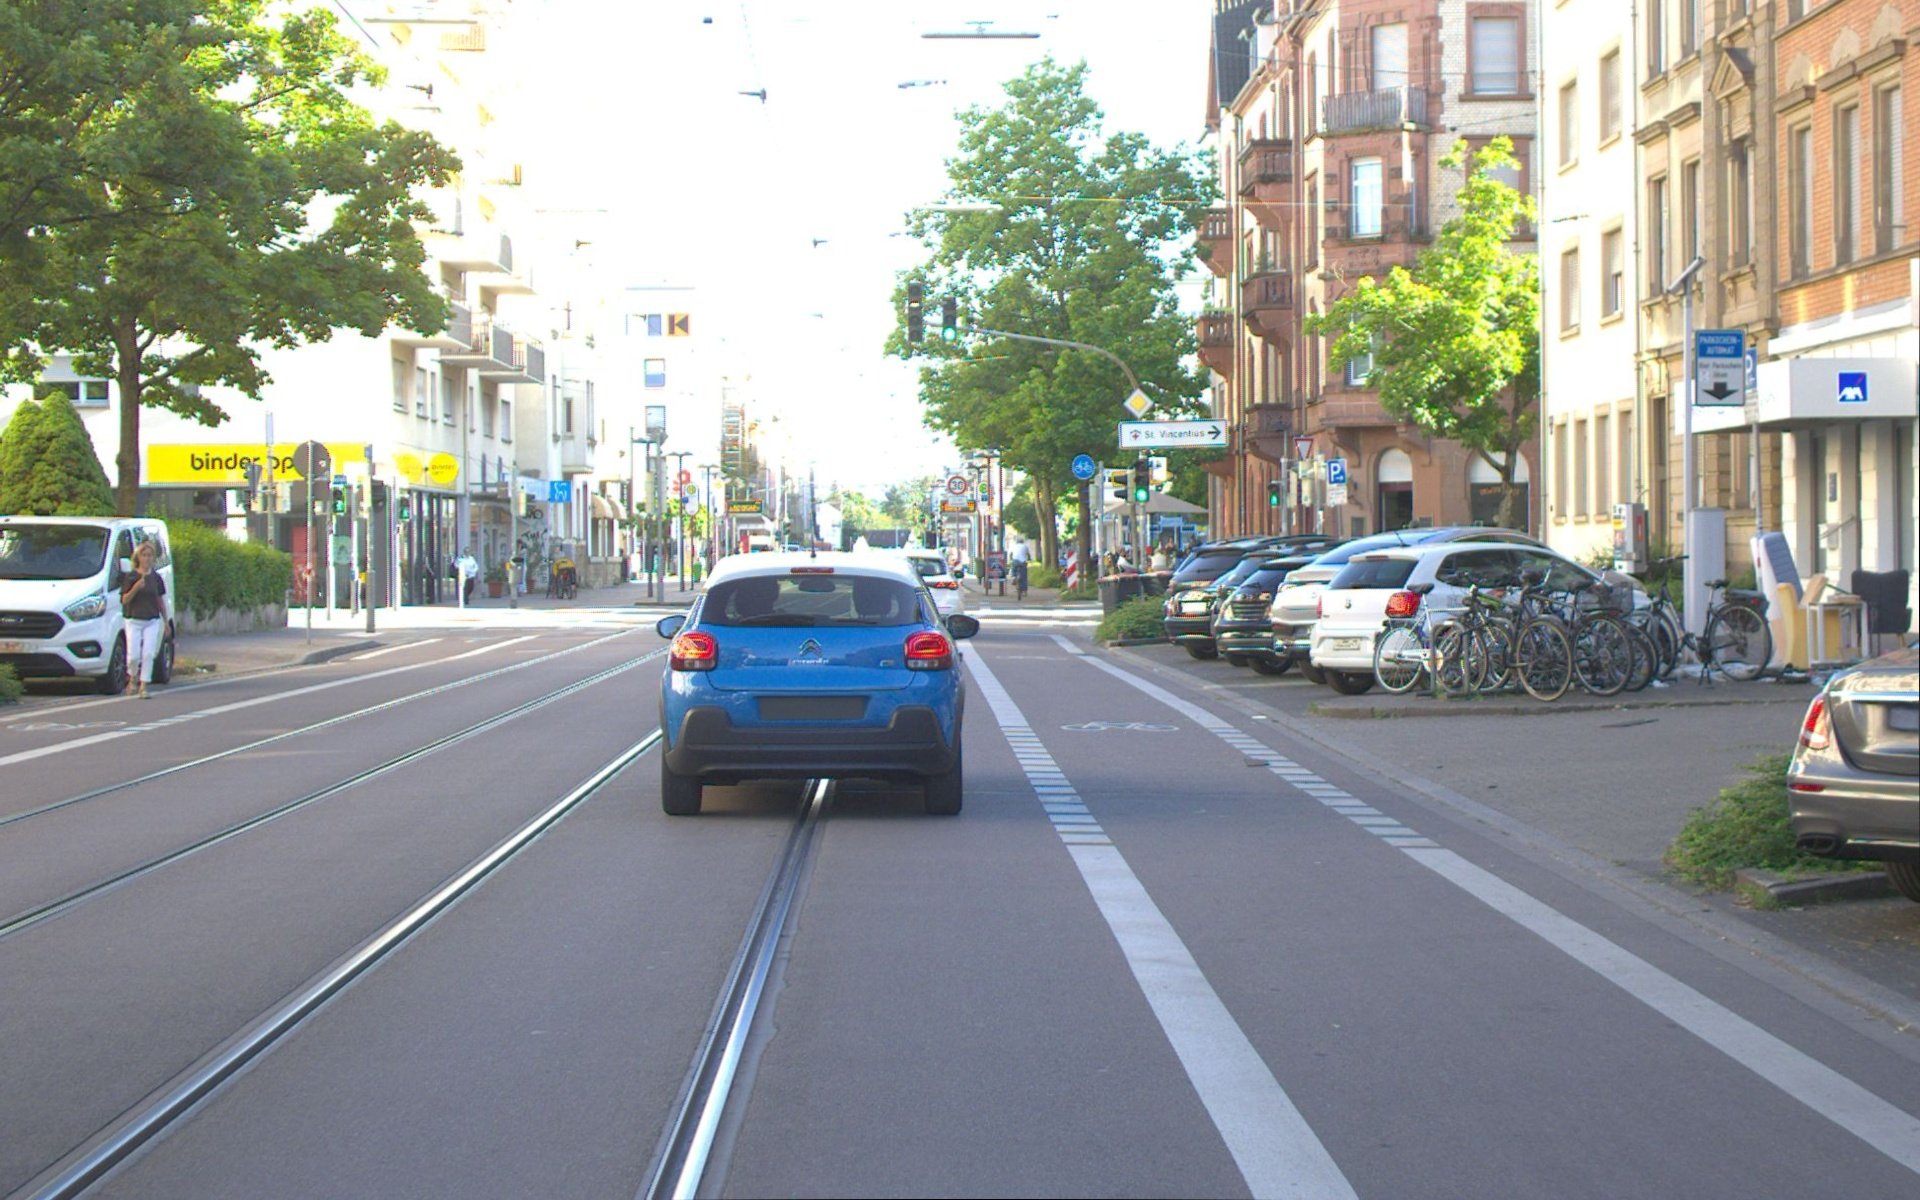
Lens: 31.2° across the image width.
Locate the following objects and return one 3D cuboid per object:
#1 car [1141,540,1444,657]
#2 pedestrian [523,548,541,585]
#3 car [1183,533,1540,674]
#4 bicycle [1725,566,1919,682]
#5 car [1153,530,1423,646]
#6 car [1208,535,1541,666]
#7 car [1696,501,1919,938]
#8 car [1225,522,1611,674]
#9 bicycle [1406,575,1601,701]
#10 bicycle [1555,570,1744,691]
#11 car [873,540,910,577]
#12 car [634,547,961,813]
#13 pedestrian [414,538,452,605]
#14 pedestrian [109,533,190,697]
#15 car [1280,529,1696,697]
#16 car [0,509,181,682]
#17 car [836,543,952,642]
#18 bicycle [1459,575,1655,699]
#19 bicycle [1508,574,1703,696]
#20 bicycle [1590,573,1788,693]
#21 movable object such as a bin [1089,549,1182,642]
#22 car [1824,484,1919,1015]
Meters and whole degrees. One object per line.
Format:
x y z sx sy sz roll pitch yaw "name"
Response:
4.483 -0.035 46.467 3.653 1.529 1.789 0 1 -20 "car"
-13.913 -1.090 111.774 0.381 1.211 0.438 -1 1 -38 "pedestrian"
4.644 0.026 39.875 3.653 1.568 1.861 0 1 -20 "car"
8.092 0.208 32.080 1.806 1.044 0.553 1 1 40 "bicycle"
4.950 -0.190 51.987 3.653 1.709 1.789 0 1 -20 "car"
5.132 -0.006 42.710 3.653 1.568 1.861 0 1 -20 "car"
4.819 0.438 14.071 3.442 1.634 1.684 0 1 -37 "car"
4.897 -0.030 36.855 3.653 1.568 1.861 0 1 -20 "car"
4.686 0.309 29.742 0.553 1.044 1.807 0 1 -36 "bicycle"
6.166 0.254 30.812 0.468 1.044 1.807 0 1 -37 "bicycle"
-2.690 -1.644 135.498 1.423 1.427 3.139 0 1 0 "car"
-0.914 0.414 20.415 1.762 1.436 3.557 0 1 -1 "car"
-13.945 -0.755 91.047 0.944 1.745 0.700 0 1 -5 "pedestrian"
-8.595 0.156 36.441 0.729 1.720 0.628 0 1 -25 "pedestrian"
5.182 0.104 33.748 3.653 1.568 1.861 0 1 -29 "car"
-10.215 -0.076 38.989 1.831 1.841 4.214 0 1 -1 "car"
-1.081 -0.147 57.818 1.873 1.590 4.000 0 1 0 "car"
5.209 0.307 30.101 0.553 1.044 1.807 0 1 -36 "bicycle"
5.707 0.294 30.483 0.553 1.044 1.807 0 1 -36 "bicycle"
6.607 0.283 31.237 0.553 1.044 1.807 0 1 -39 "bicycle"
2.835 -0.083 55.739 1.394 1.478 1.655 0 1 -1 "movable object such as a bin"
4.883 0.468 11.155 3.719 1.646 2.048 0 1 -33 "car"
